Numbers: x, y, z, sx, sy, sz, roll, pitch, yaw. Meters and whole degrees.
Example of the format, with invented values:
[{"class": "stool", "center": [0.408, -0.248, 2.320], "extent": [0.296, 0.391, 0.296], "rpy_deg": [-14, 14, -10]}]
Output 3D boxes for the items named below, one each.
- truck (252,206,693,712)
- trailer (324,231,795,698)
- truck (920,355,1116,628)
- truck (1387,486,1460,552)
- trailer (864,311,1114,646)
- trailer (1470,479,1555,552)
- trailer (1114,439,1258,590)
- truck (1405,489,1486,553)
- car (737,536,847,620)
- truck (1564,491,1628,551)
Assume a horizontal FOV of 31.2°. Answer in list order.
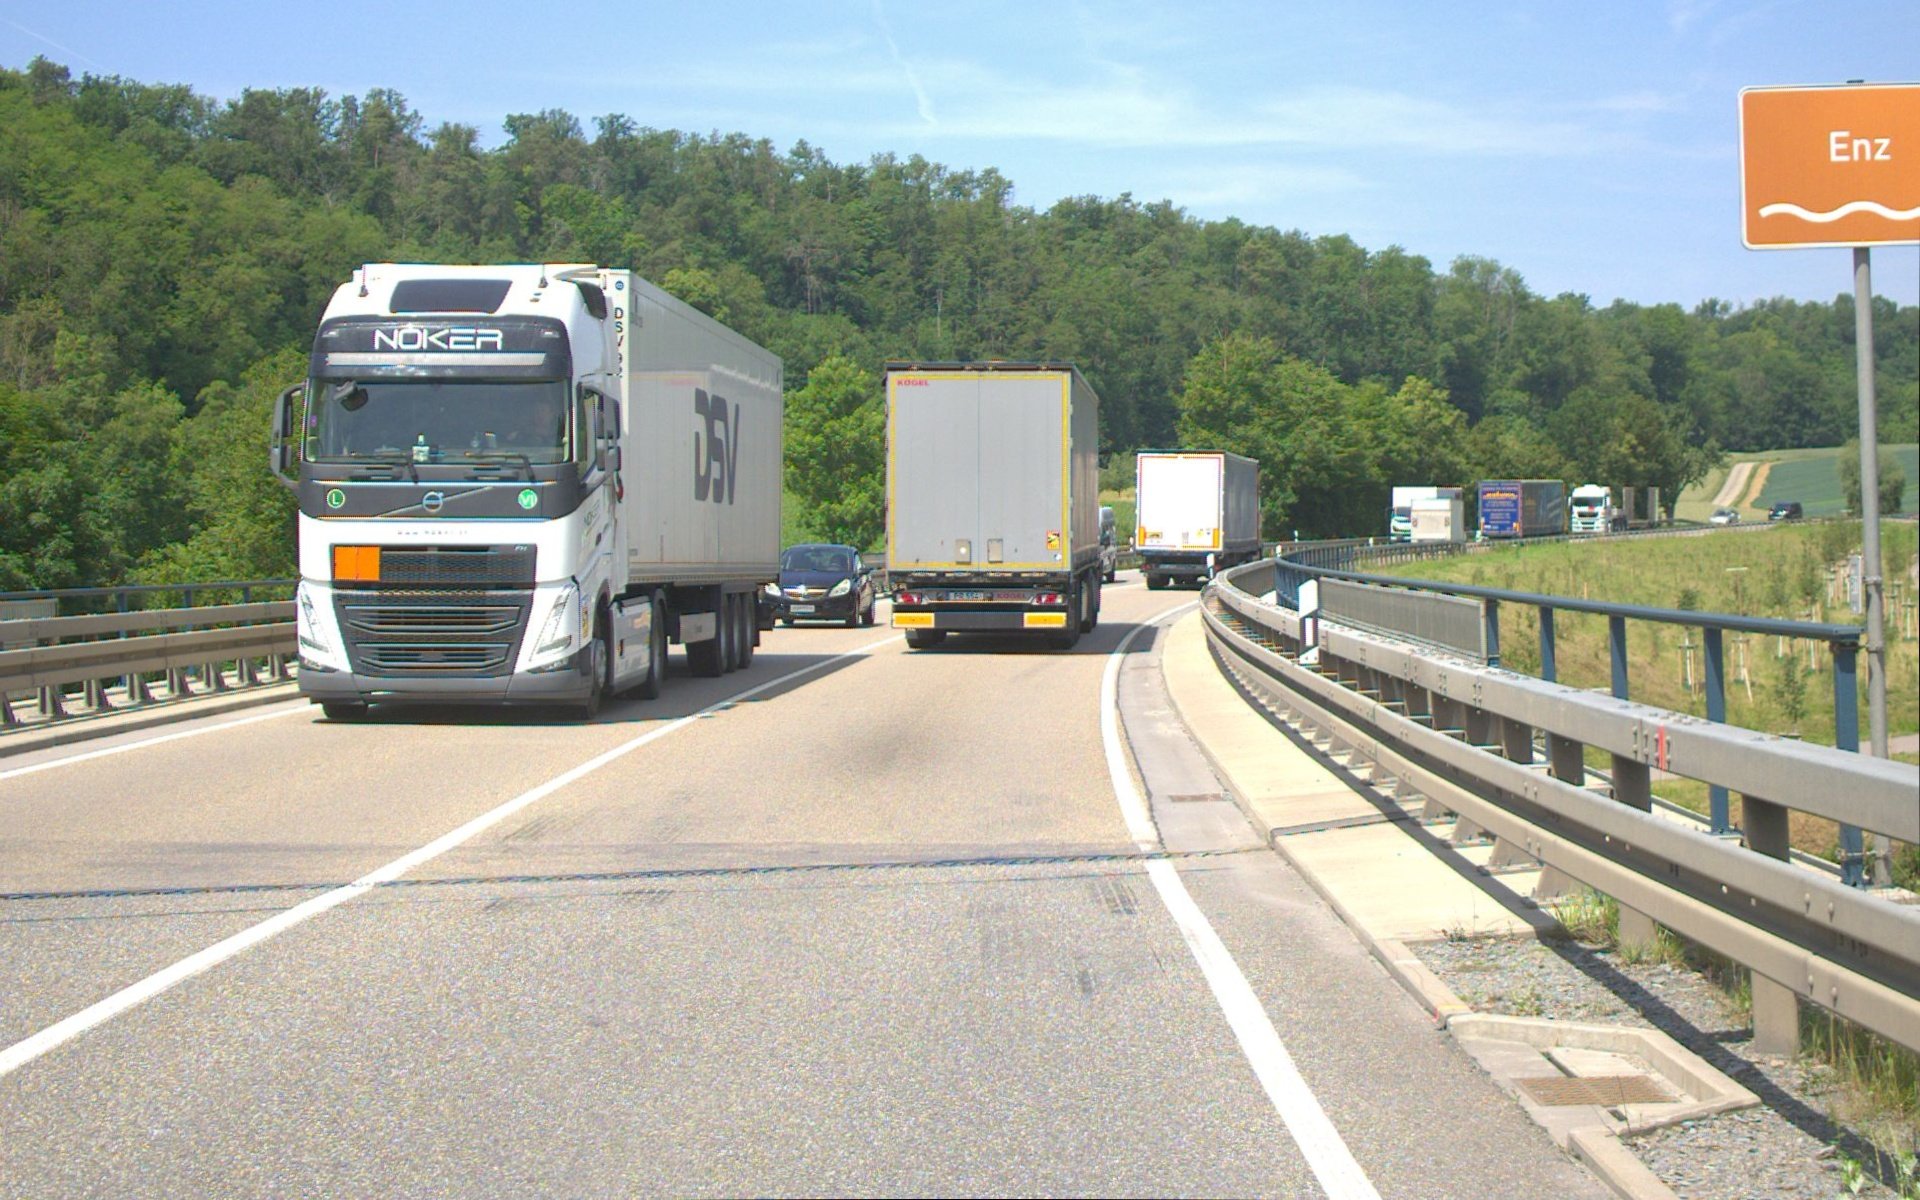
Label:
[{"class": "truck", "center": [-4.269, -1.212, 31.512], "extent": [2.846, 4.146, 6.330], "rpy_deg": [1, 1, 3]}, {"class": "trailer", "center": [-3.958, -1.301, 38.174], "extent": [2.853, 4.173, 14.496], "rpy_deg": [1, 1, 3]}, {"class": "truck", "center": [1.108, -1.848, 60.009], "extent": [3.118, 4.479, 6.810], "rpy_deg": [0, 1, 3]}, {"class": "truck", "center": [27.175, -4.783, 201.400], "extent": [2.916, 3.790, 9.702], "rpy_deg": [1, 2, 16]}, {"class": "trailer", "center": [0.699, -1.717, 53.049], "extent": [3.118, 4.484, 13.885], "rpy_deg": [0, 1, 3]}, {"class": "trailer", "center": [33.363, -5.041, 207.211], "extent": [3.651, 4.248, 12.186], "rpy_deg": [1, 1, 16]}, {"class": "trailer", "center": [7.063, -2.578, 105.155], "extent": [3.366, 4.302, 13.860], "rpy_deg": [0, 1, 8]}, {"class": "truck", "center": [26.379, -4.245, 186.300], "extent": [3.225, 3.354, 11.868], "rpy_deg": [1, 1, 13]}, {"class": "car", "center": [-2.974, -0.411, 61.593], "extent": [1.661, 1.453, 3.894], "rpy_deg": [0, 1, 2]}, {"class": "truck", "center": [46.414, -5.741, 250.681], "extent": [3.063, 4.248, 9.859], "rpy_deg": [1, 1, 19]}]
